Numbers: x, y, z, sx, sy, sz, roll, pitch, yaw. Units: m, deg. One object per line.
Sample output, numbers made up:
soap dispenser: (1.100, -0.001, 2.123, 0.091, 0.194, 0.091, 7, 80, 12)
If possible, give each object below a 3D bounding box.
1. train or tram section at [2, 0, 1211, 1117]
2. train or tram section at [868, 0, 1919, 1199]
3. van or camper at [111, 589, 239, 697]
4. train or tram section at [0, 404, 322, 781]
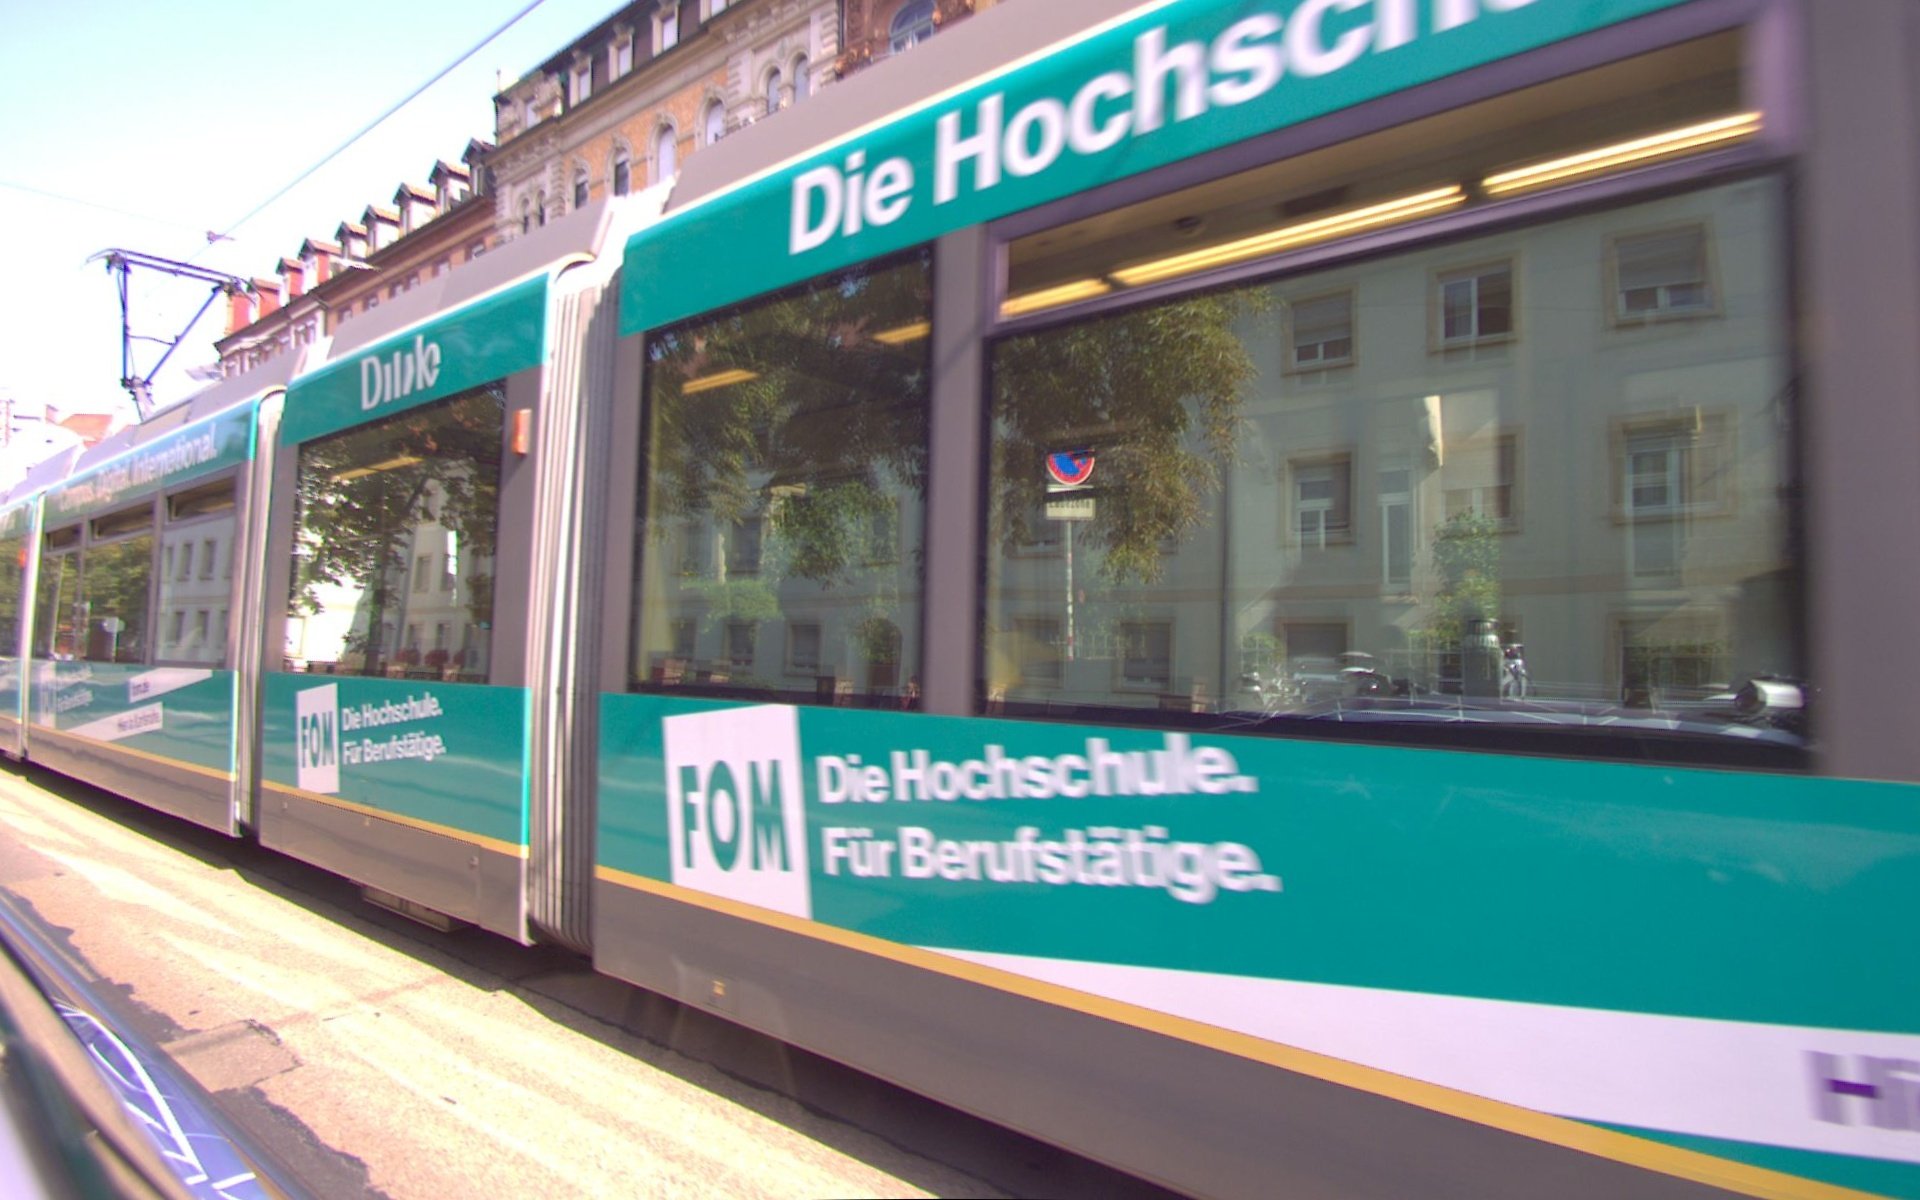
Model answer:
train or tram section: (-3.860, -0.205, 7.203, 10.759, 3.532, 2.709, -2, -1, 38)
train or tram section: (4.832, -0.453, 0.441, 10.759, 3.532, 2.709, -2, -1, 38)
van or camper: (-21.729, 1.134, 27.909, 2.027, 2.664, 6.093, 2, -2, -45)
train or tram section: (-14.242, 0.120, 15.302, 15.409, 3.532, 2.709, -2, -1, 38)
